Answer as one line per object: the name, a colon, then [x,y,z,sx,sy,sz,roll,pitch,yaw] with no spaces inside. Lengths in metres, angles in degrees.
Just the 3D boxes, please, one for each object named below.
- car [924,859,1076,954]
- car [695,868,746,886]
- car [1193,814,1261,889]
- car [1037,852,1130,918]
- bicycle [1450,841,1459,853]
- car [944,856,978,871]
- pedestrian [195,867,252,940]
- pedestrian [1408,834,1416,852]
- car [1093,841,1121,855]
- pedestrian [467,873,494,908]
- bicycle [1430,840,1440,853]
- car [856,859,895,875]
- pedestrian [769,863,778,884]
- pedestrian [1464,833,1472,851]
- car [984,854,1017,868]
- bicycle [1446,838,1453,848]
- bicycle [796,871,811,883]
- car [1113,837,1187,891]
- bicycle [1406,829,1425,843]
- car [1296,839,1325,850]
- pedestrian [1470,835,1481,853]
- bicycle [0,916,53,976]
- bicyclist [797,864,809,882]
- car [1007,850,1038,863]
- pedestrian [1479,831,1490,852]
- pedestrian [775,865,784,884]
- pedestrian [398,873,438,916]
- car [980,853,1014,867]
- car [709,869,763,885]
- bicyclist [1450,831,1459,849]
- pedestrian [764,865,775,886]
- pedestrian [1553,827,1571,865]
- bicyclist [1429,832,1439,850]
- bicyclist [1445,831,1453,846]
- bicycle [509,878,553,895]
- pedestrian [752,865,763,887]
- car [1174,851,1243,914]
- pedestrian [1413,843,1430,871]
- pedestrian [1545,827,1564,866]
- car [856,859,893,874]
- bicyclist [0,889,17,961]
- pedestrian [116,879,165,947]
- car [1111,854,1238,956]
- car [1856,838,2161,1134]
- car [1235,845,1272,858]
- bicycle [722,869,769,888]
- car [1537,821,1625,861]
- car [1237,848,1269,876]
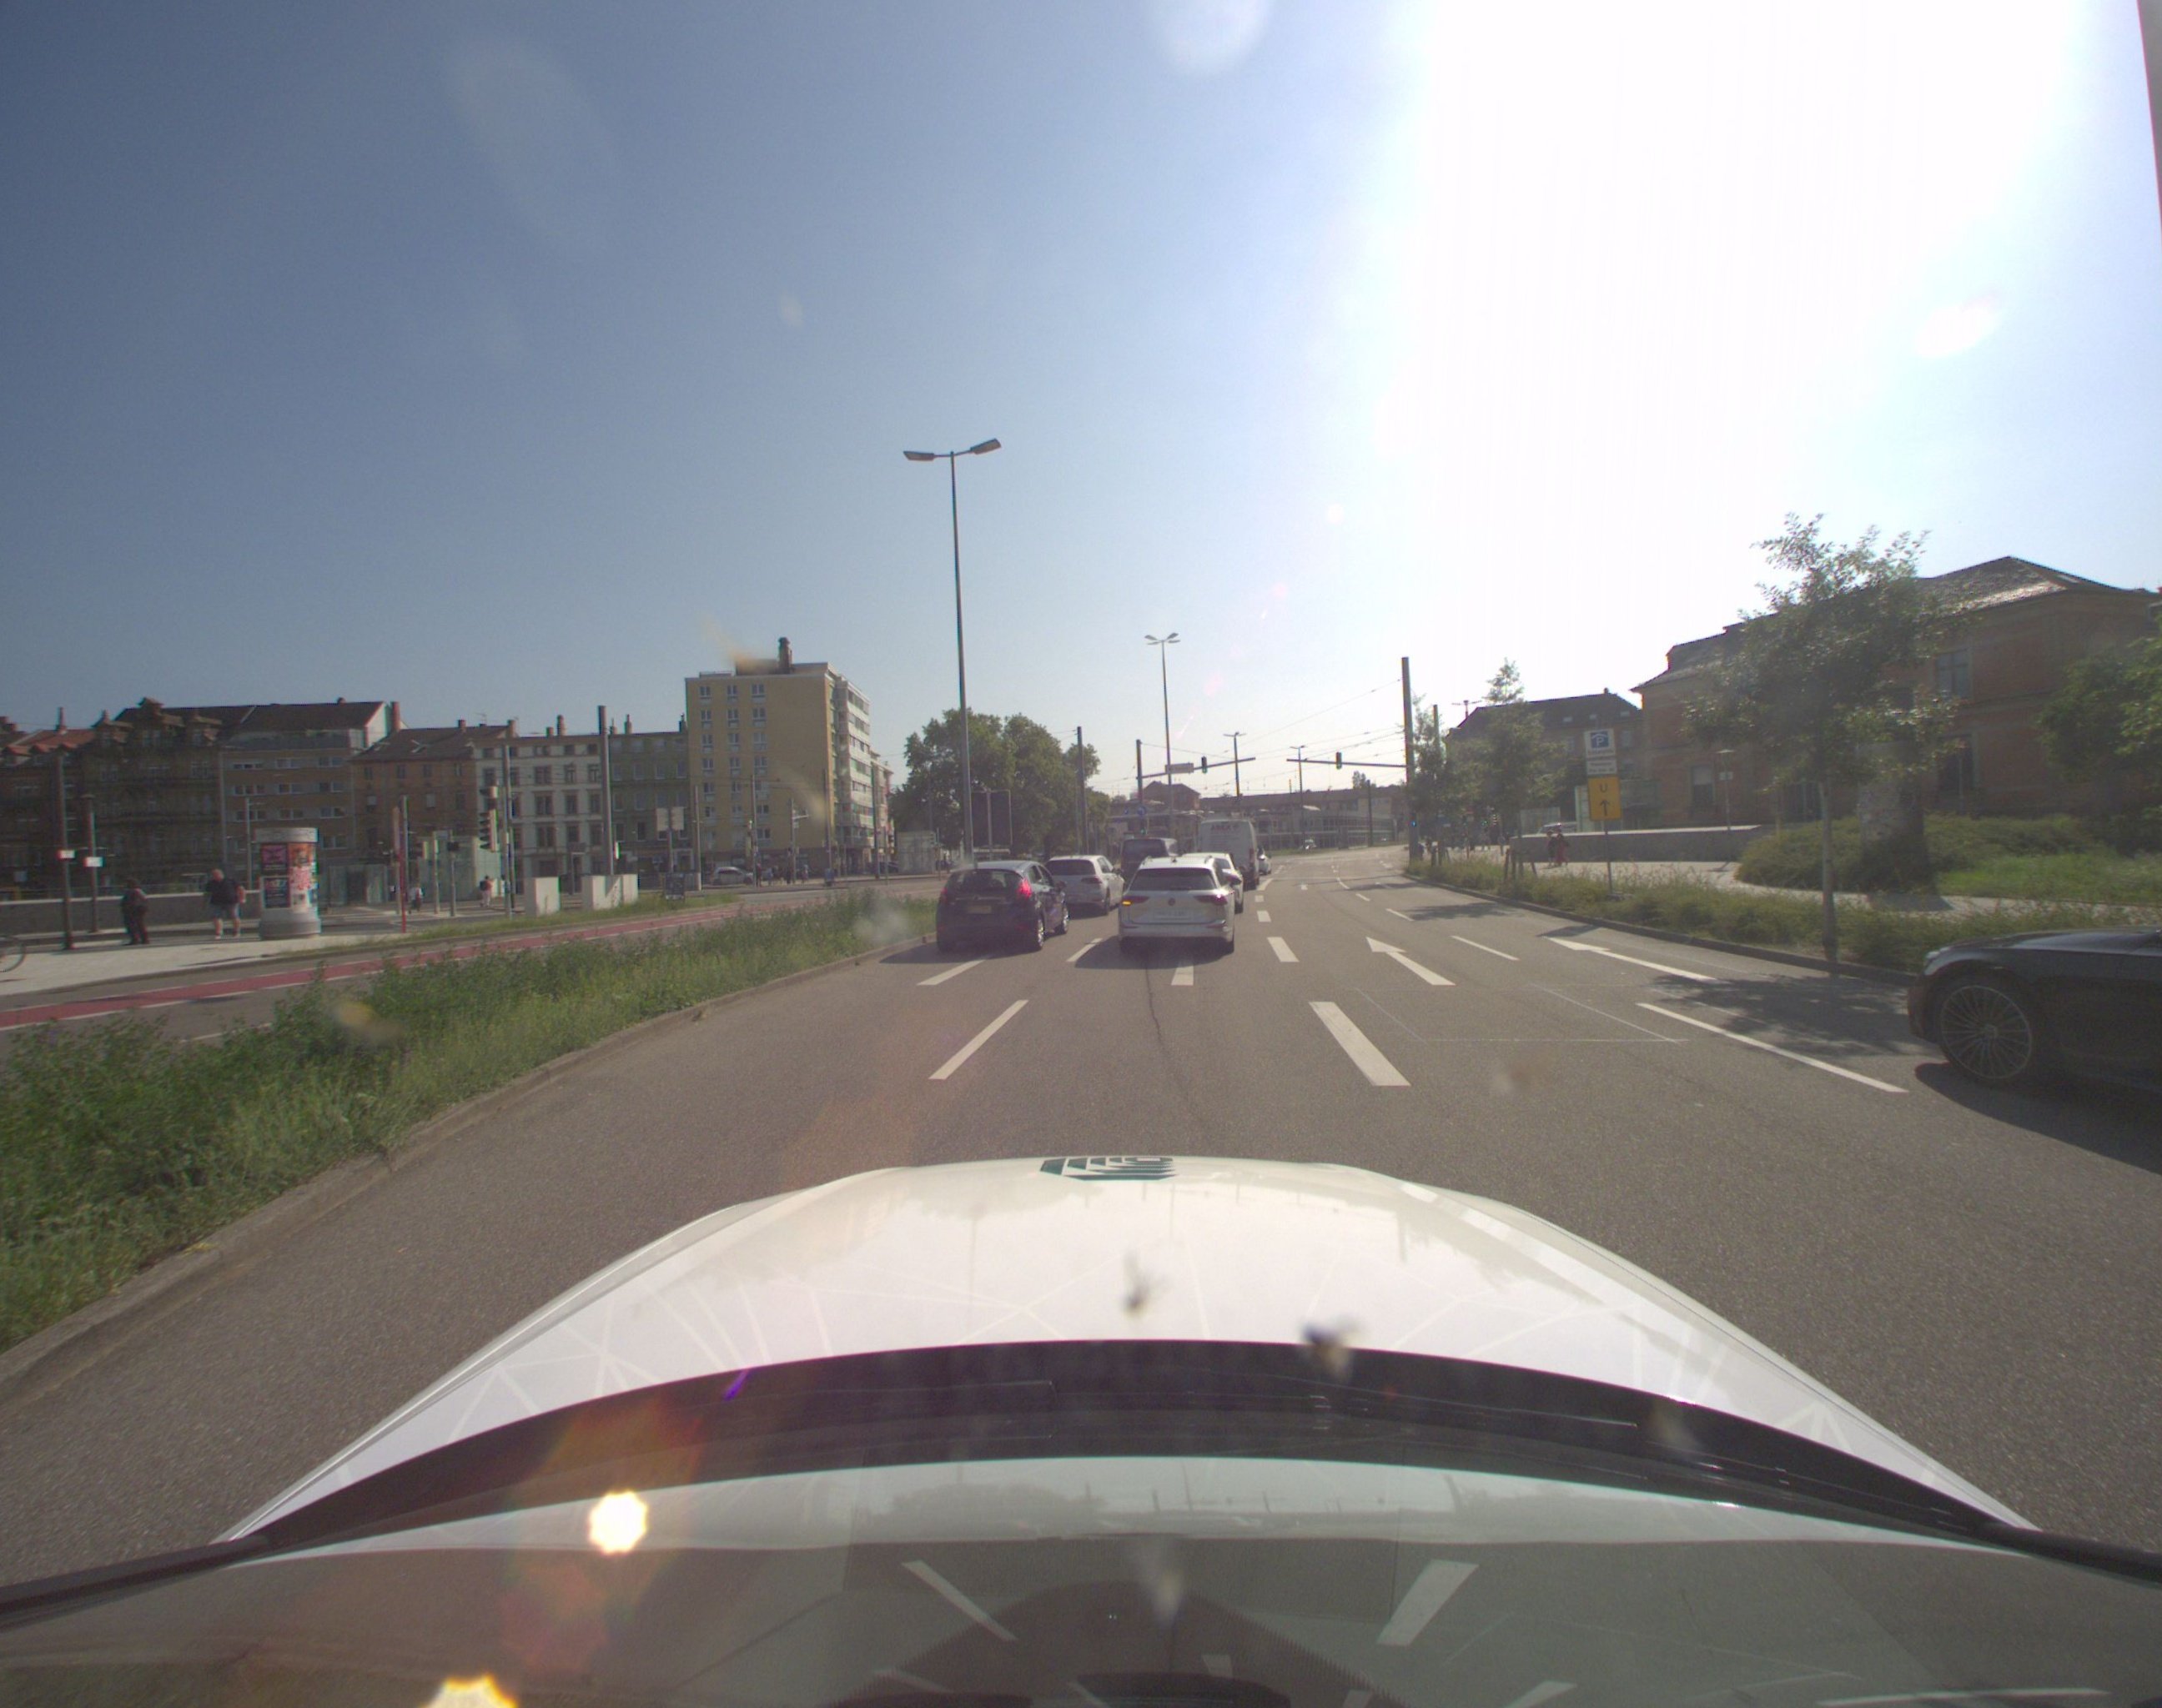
car: [-1.249,0.813,14.294,1.691,1.368,3.973,-2,0,8]
car: [-31.860,1.998,72.066,3.727,1.393,1.586,-2,0,-2]
car: [5.613,-0.076,30.865,2.173,2.549,4.701,-2,-1,14]
car: [0.148,0.722,20.594,1.479,1.415,3.662,-2,1,14]
bicycle: [38.220,-0.703,83.346,0.739,1.148,2.883,-3,0,25]
car: [-14.949,1.178,101.635,3.978,1.557,1.726,-2,0,-3]
pedestrian: [-22.792,1.289,21.657,0.886,1.818,0.885,-4,3,-43]
pedestrian: [38.396,-1.276,94.473,0.739,2.013,0.811,-3,0,24]
car: [4.072,-0.921,126.091,3.964,2.013,2.006,-2,2,8]
pedestrian: [-31.843,1.911,43.190,0.831,1.819,0.778,-1,-2,-2]
bicycle: [30.143,-0.649,69.391,0.699,1.061,1.994,-3,0,25]
car: [-23.709,1.520,94.064,3.976,1.557,1.868,-2,2,-2]
pedestrian: [-25.152,1.607,66.566,0.458,1.684,0.435,-4,3,-41]
pedestrian: [43.457,-1.343,91.501,0.739,2.013,0.811,-3,0,24]
car: [-10.468,0.955,105.642,3.972,1.618,1.814,-3,0,1]
bicycle: [46.338,-1.337,102.485,0.733,1.217,2.258,-3,0,24]
bicycle: [-22.644,1.873,66.513,0.726,0.984,1.728,-2,0,-6]
car: [2.945,0.371,33.587,2.007,2.008,4.705,-2,0,17]
bicycle: [24.019,-1.291,58.512,0.767,0.976,2.156,-2,0,10]
car: [35.469,-1.450,125.771,4.010,1.442,1.982,-3,0,-28]
pedestrian: [34.716,-0.873,71.655,0.739,1.529,0.811,-3,0,24]
bicycle: [-21.108,1.823,15.517,0.559,1.064,1.853,-1,3,2]
bicyclist: [-22.653,1.530,66.466,0.725,1.434,0.688,-2,0,-6]
car: [-7.778,0.307,107.923,3.978,1.557,1.726,-2,0,-3]
pedestrian: [38.580,-1.198,77.871,0.796,1.888,0.753,-3,0,24]
pedestrian: [-24.740,1.683,66.922,0.501,1.487,0.435,-4,3,-41]
pedestrian: [-32.371,1.963,39.770,0.955,2.013,1.021,-2,2,-2]
car: [-10.625,0.789,103.525,3.972,1.618,1.814,-3,0,1]
car: [-29.222,1.962,69.045,3.819,1.180,1.575,-2,-2,-2]
bicyclist: [38.198,-1.475,83.340,0.739,1.785,1.120,-3,0,24]
pedestrian: [-25.035,1.713,65.457,0.451,1.684,0.549,-2,2,10]
pedestrian: [21.065,-0.336,35.697,0.608,1.628,0.537,-3,0,31]
bicyclist: [30.117,-1.120,69.383,0.706,1.529,0.811,-3,0,24]
bicyclist: [46.294,-1.945,102.462,0.739,1.829,0.811,-3,0,24]
bicycle: [-53.378,3.147,79.100,3.522,1.347,0.773,-2,2,-4]
pedestrian: [-25.823,1.745,65.027,0.450,1.684,0.550,-1,2,22]
car: [3.255,0.650,20.340,1.479,1.403,3.955,-2,0,11]
pedestrian: [17.410,0.148,41.662,0.632,1.362,0.635,-3,0,7]
pedestrian: [20.501,-0.325,35.259,0.608,1.639,0.537,-3,0,31]
car: [-24.537,1.463,96.955,3.931,1.557,1.794,-2,2,-2]
bicyclist: [-21.115,1.395,15.470,0.560,1.361,0.884,-1,2,2]
pedestrian: [-22.622,1.417,19.602,0.494,1.579,0.510,-2,2,13]
car: [1.641,0.725,13.137,1.674,1.387,3.646,-2,0,11]
car: [6.147,0.644,3.288,1.810,1.440,4.883,-2,0,7]
car: [19.824,-0.278,93.950,3.946,1.342,1.933,-3,0,5]
bicycle: [-33.003,2.384,80.118,3.979,1.551,1.194,-3,2,-4]
car: [27.740,-0.761,45.255,3.985,2.013,1.749,-3,2,-8]
car: [9.388,0.399,44.350,1.626,1.403,3.700,-2,0,13]
